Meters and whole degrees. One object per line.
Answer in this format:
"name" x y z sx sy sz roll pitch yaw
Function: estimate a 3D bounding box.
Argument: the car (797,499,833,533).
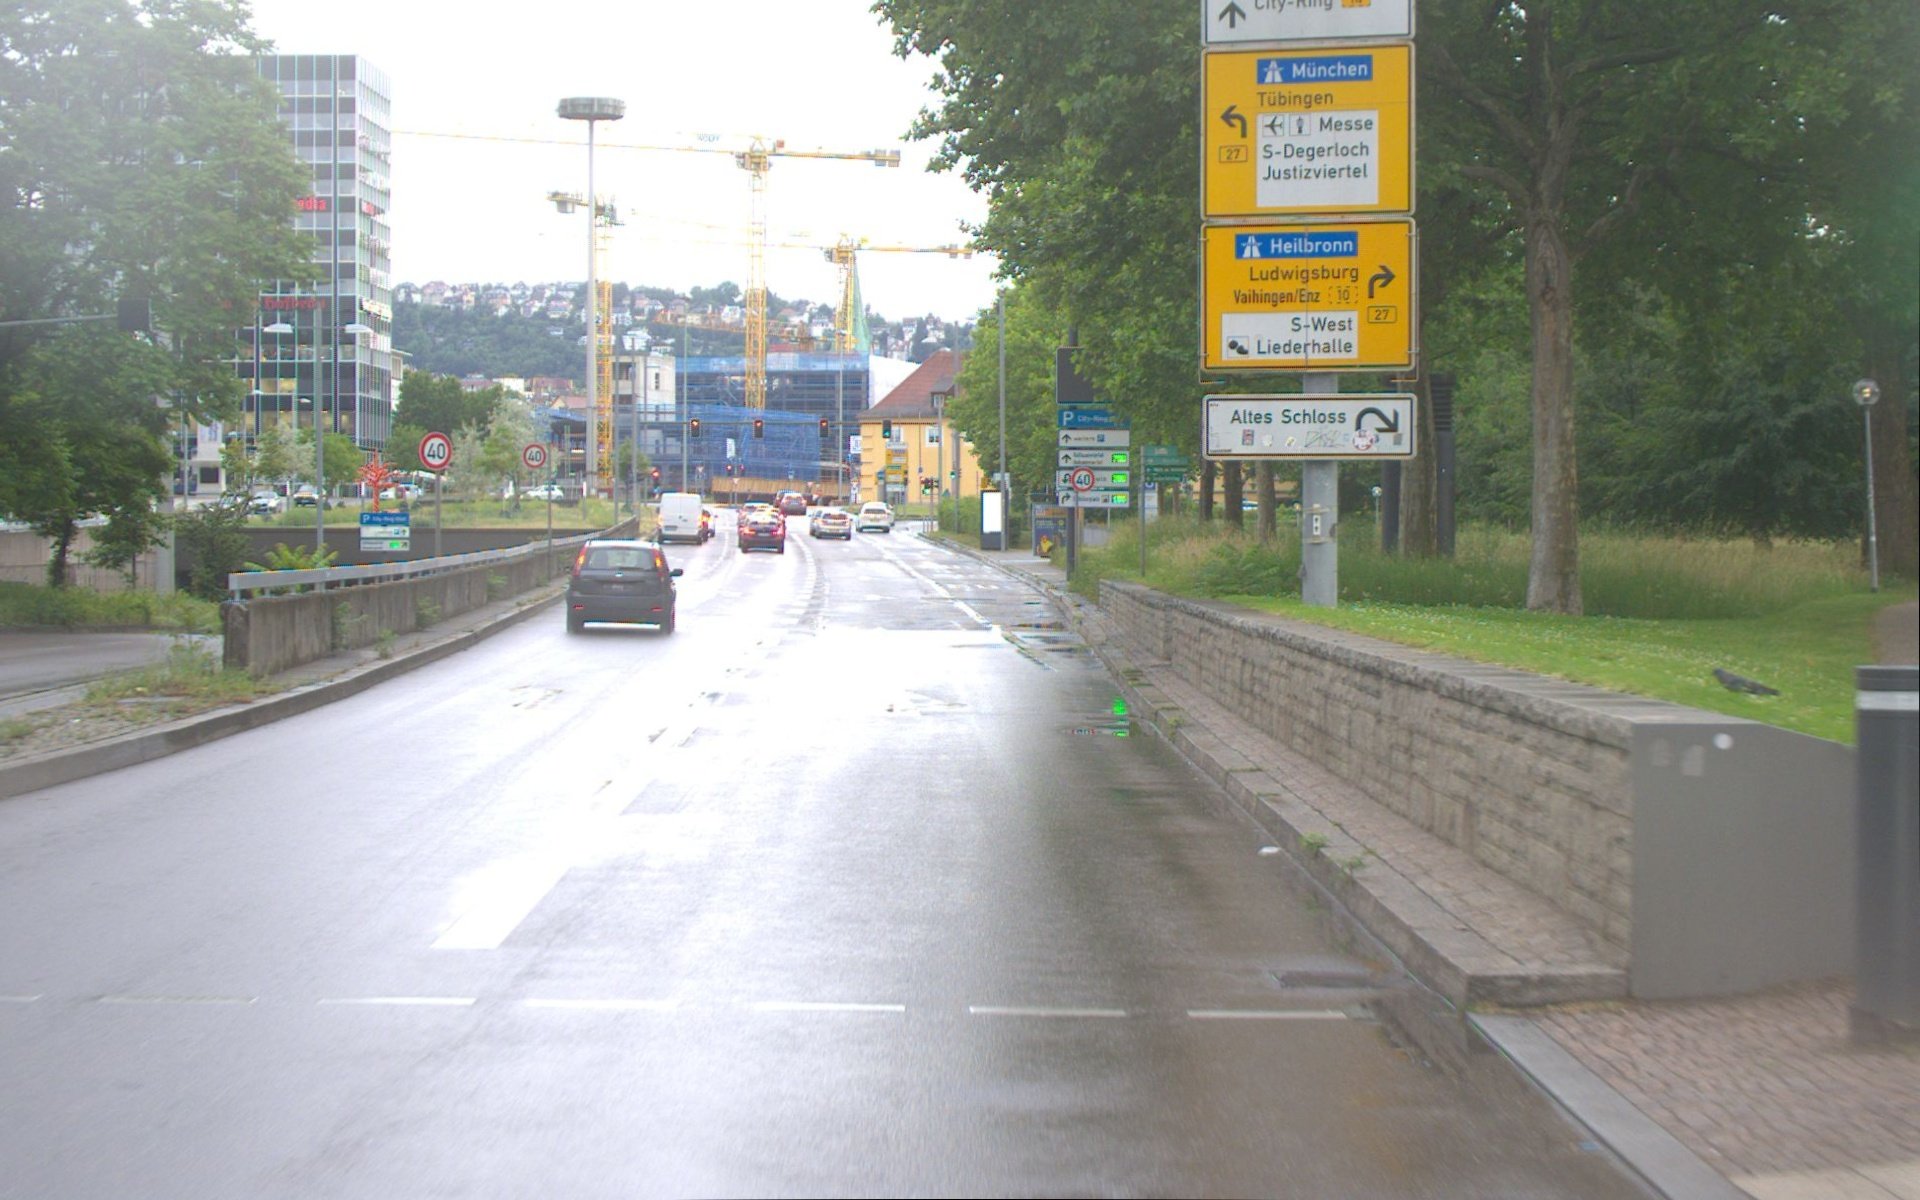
"car" -7.673 -4.447 182.097 1.712 1.684 3.849 -1 0 0

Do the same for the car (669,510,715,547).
"car" -13.558 -3.612 174.122 1.993 1.776 4.000 -1 0 0

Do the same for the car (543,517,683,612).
"car" -5.502 -0.553 54.165 1.843 1.411 3.840 -1 0 -11

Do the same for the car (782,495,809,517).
"car" -11.591 -6.627 242.679 1.721 1.552 3.584 0 1 0

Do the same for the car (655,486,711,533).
"car" -12.602 -4.128 156.802 2.219 2.007 4.000 -1 0 0

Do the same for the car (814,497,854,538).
"car" -6.473 -4.207 176.366 1.987 2.007 4.000 -1 0 -2

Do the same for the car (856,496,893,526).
"car" -4.833 -5.002 193.904 1.993 1.594 4.000 -1 0 0

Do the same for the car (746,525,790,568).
"car" -8.207 -2.287 147.164 1.739 1.765 4.000 -1 0 -2
